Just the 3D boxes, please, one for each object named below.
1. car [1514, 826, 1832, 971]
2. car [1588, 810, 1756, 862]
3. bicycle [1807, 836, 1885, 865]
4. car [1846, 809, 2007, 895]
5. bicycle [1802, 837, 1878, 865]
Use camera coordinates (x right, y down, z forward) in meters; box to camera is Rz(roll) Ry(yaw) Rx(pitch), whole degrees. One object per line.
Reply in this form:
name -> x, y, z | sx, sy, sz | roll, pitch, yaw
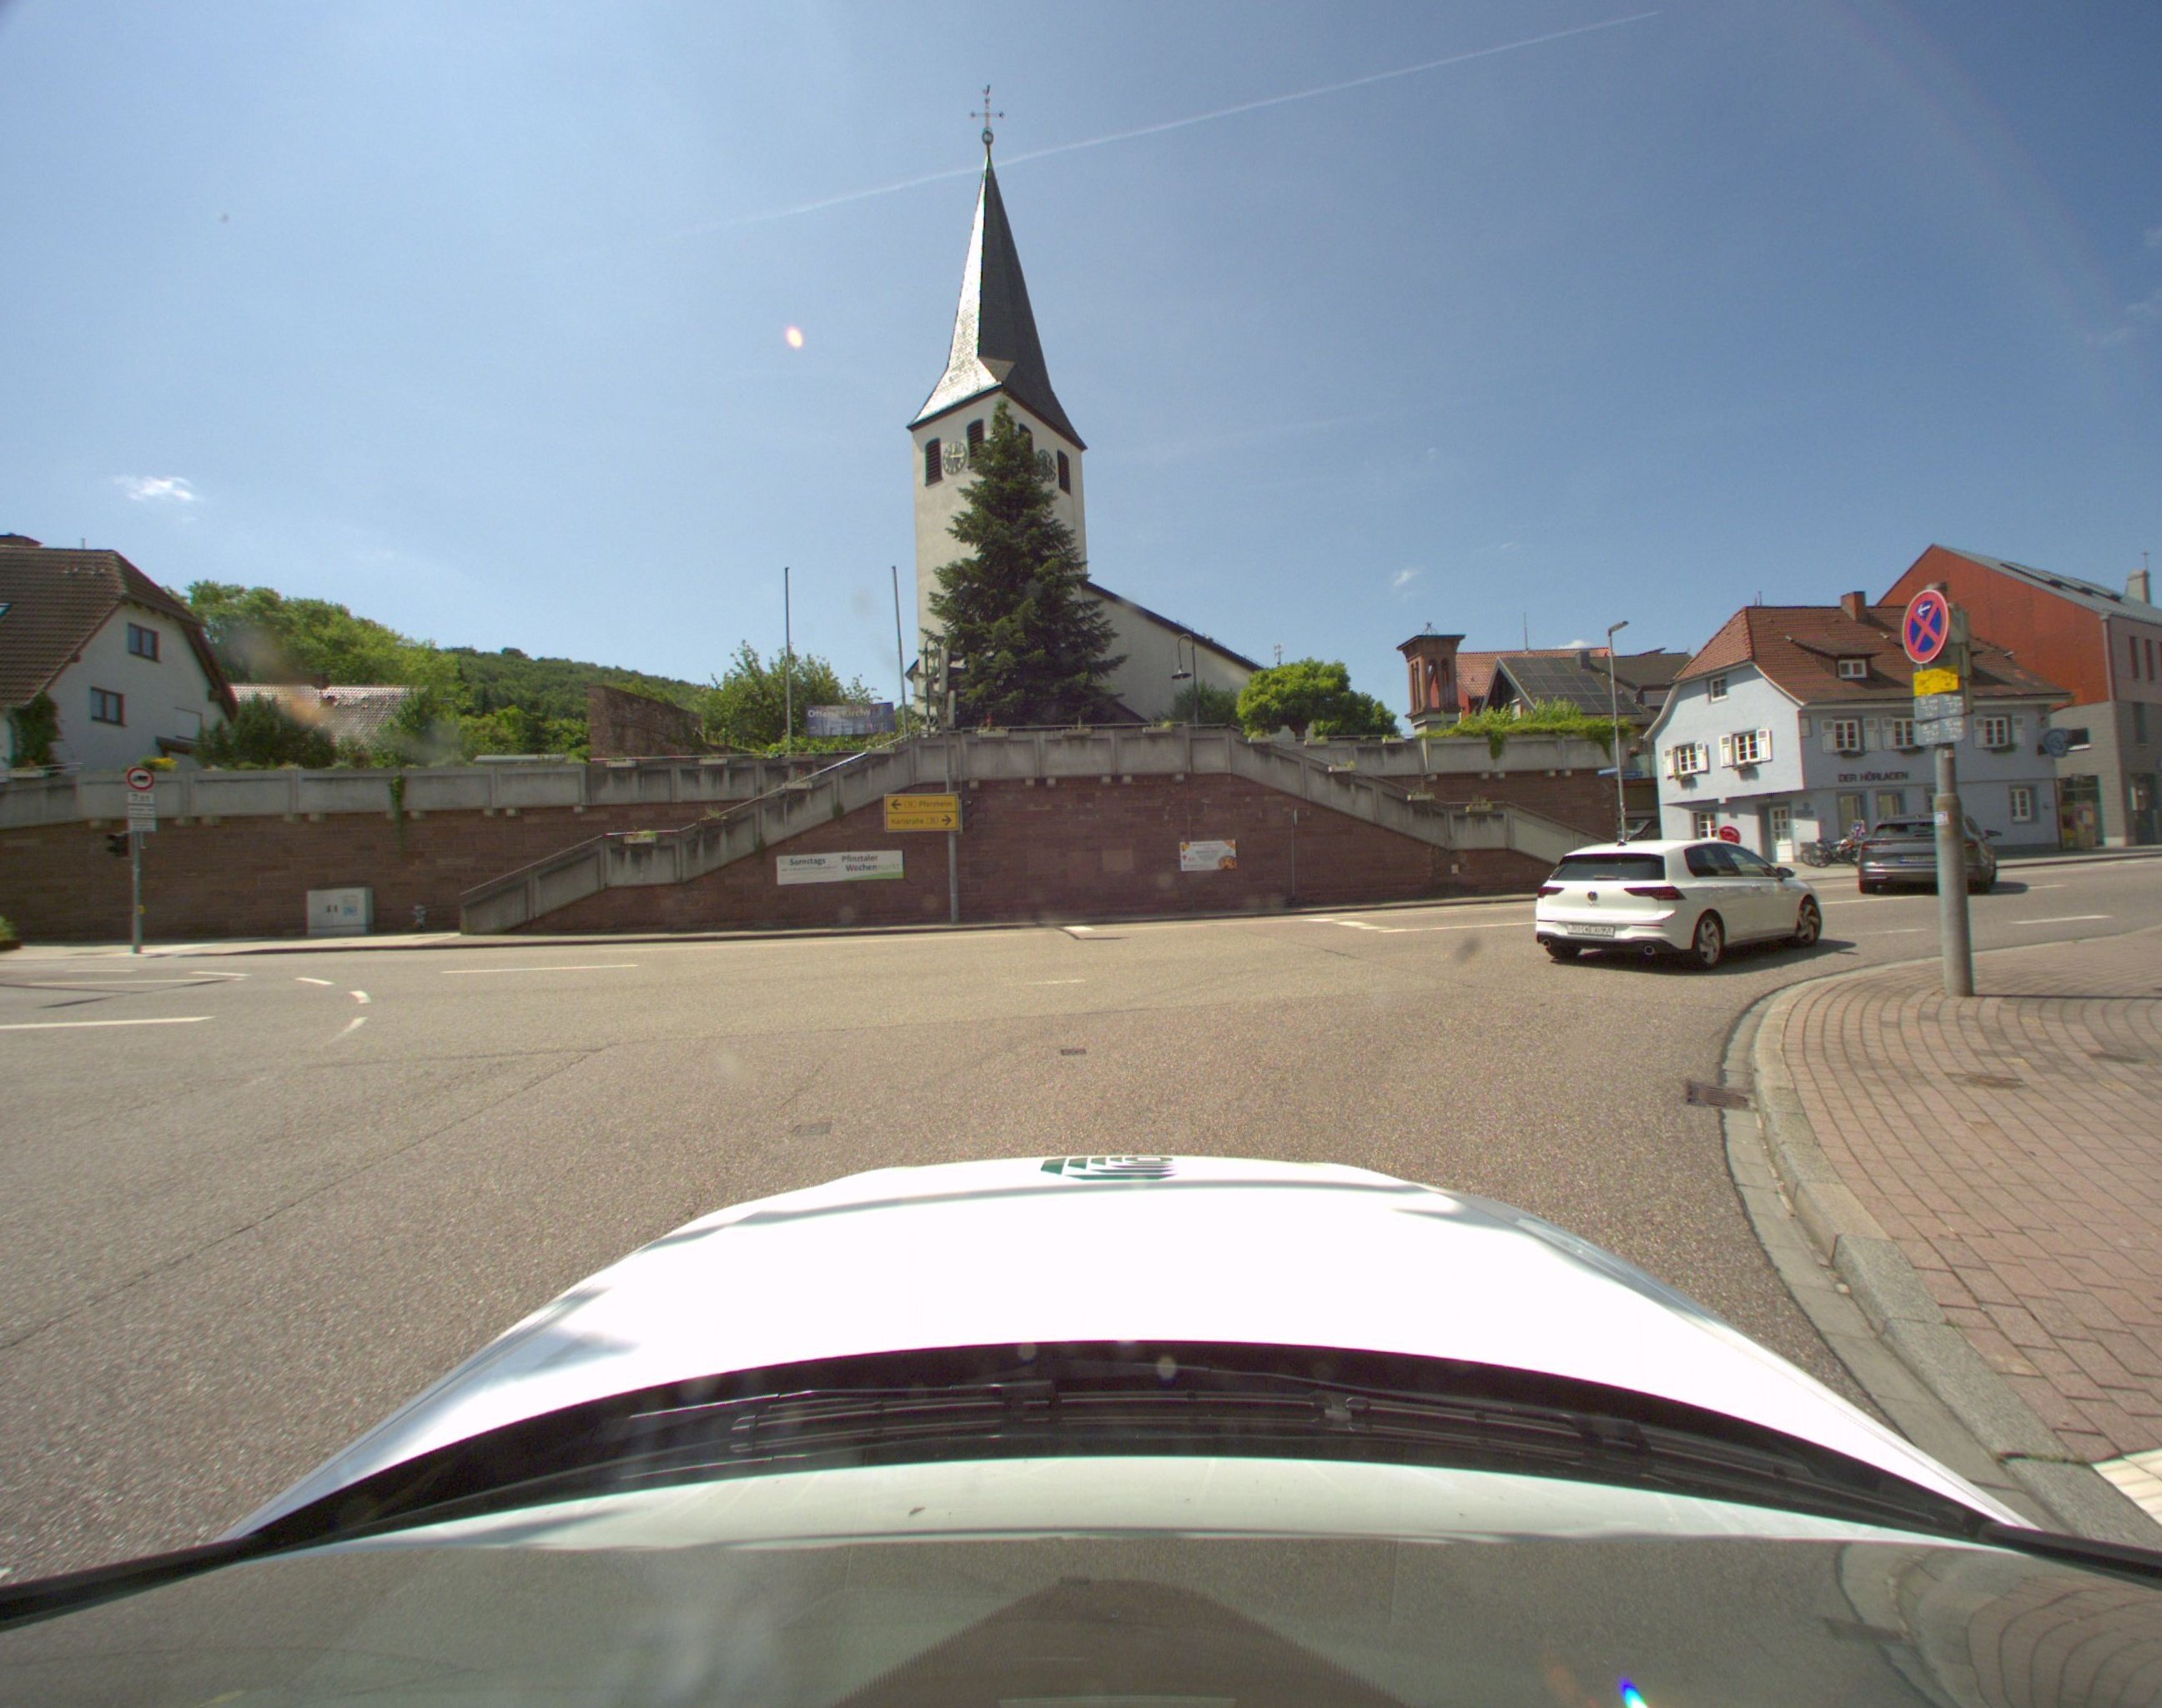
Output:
car -> 7.463, 0.459, 10.215 | 3.875, 1.458, 1.771 | -2, -1, -30
car -> 27.735, -0.812, 38.412 | 5.952, 2.014, 2.526 | -3, -2, 2
bicycle -> 25.890, -0.123, 27.597 | 1.800, 0.899, 0.627 | -2, 0, 29
car -> 17.897, -0.086, 17.184 | 4.347, 1.582, 1.933 | -2, 0, -39
bicycle -> 26.224, -0.104, 28.178 | 1.800, 0.899, 0.653 | -2, 0, 28
